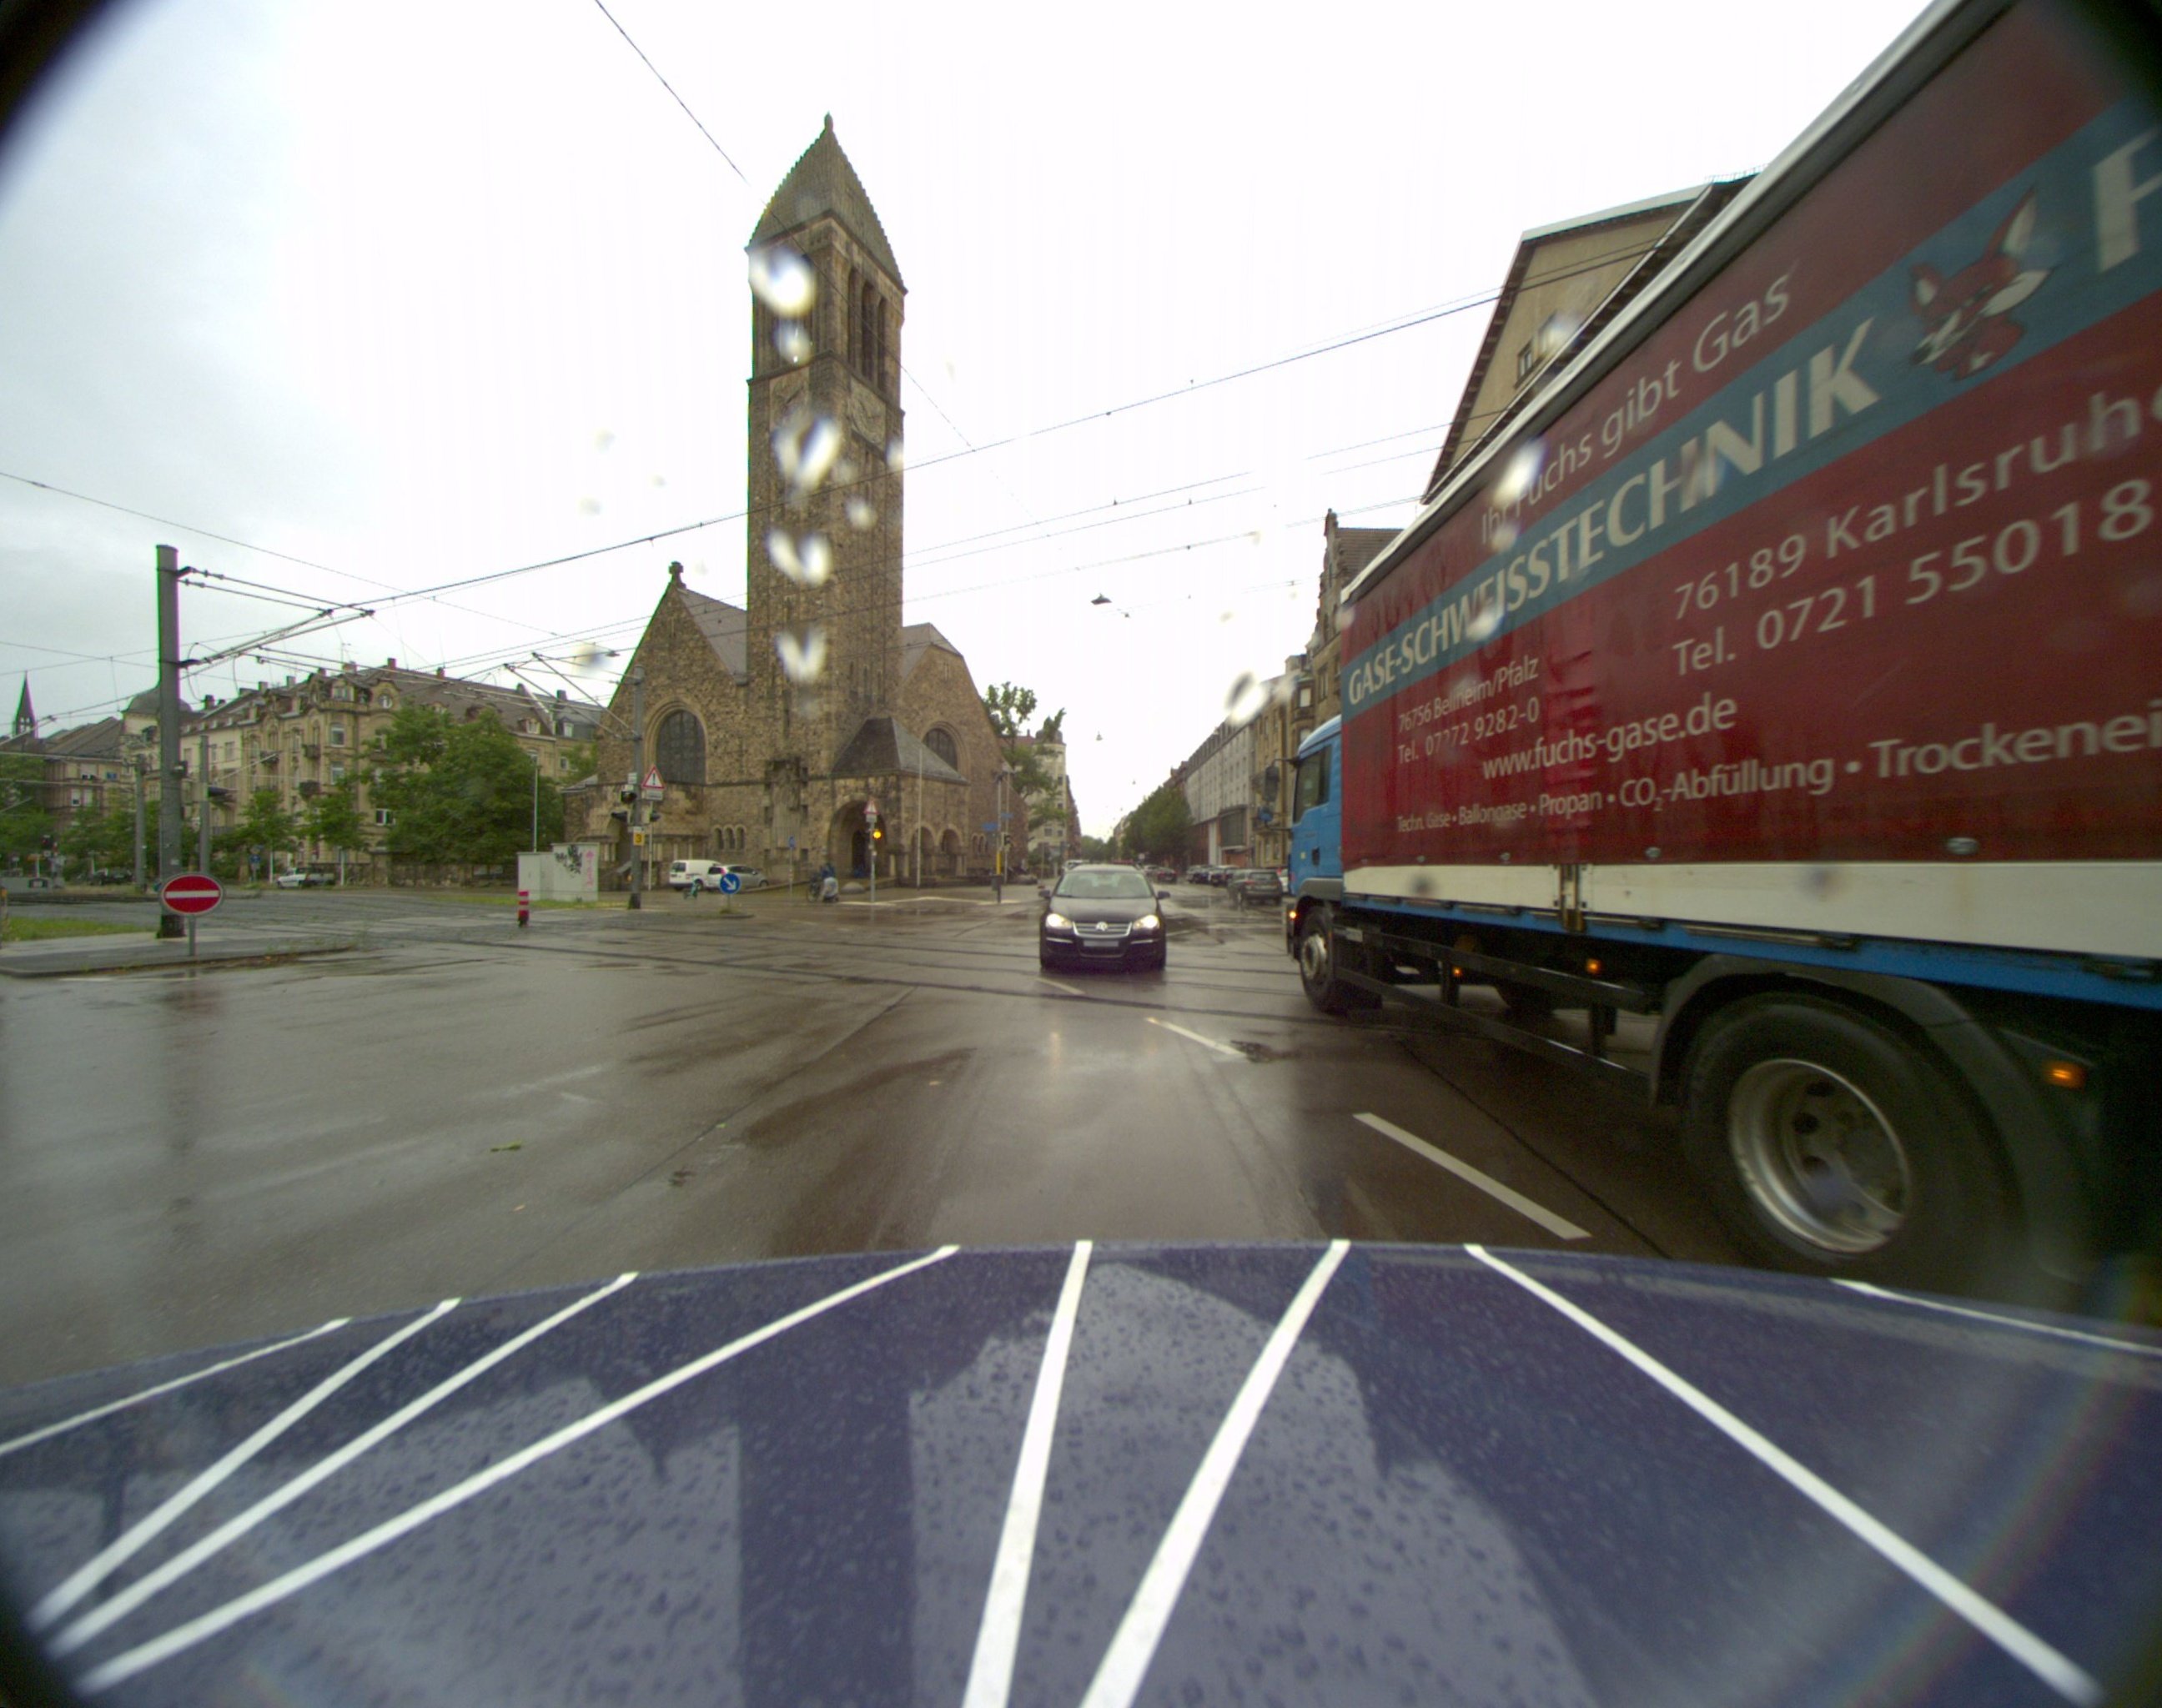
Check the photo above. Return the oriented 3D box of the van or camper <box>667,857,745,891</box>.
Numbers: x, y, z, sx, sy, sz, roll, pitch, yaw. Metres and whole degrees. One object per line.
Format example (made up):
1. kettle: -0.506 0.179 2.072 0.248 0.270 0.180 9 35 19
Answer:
1. van or camper: -22.390 1.161 45.544 1.644 1.718 3.935 0 3 25

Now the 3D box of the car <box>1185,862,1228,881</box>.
1. car: 11.547 1.621 69.943 3.931 1.719 1.811 1 0 -40

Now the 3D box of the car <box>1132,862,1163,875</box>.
1. car: 9.165 2.031 104.865 3.802 1.705 1.998 1 0 -9

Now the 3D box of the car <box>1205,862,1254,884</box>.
1. car: 12.005 1.509 61.404 3.734 1.617 1.774 -1 -1 -37

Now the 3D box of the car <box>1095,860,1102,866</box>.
1. car: 5.346 2.788 232.784 1.998 1.705 4.377 1 0 5

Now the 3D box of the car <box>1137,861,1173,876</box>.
1. car: 9.442 1.843 97.068 4.006 1.804 1.996 1 0 -25

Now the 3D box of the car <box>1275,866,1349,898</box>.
1. car: 12.163 1.449 39.957 4.002 1.524 1.700 -1 -1 -38

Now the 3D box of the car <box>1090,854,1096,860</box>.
1. car: 3.825 0.948 241.015 1.837 1.827 4.002 1 0 5

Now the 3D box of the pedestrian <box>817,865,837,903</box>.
1. pedestrian: -11.140 1.314 33.365 0.604 1.653 0.689 0 0 4

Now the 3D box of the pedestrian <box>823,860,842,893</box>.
1. pedestrian: -12.823 1.159 39.228 0.632 1.693 0.679 0 0 21

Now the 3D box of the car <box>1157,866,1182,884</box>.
1. car: 7.868 1.840 67.682 1.748 1.537 3.779 1 0 0

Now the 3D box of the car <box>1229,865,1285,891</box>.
1. car: 11.344 1.515 49.010 3.436 1.535 1.697 -1 -1 -38

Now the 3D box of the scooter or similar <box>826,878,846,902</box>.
1. scooter or similar: -10.681 1.564 33.146 0.514 1.042 0.924 0 -1 4

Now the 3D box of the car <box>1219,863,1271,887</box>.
1. car: 11.904 1.516 55.149 3.766 1.535 1.624 -1 -1 -39

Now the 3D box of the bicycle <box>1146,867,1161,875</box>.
1. bicycle: 8.839 2.065 92.671 1.687 1.066 0.545 0 0 -2

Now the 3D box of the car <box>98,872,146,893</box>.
1. car: -85.966 2.546 68.124 3.990 1.766 1.785 0 0 25

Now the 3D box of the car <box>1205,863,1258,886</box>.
1. car: 11.517 1.561 58.150 3.734 1.535 1.774 -1 -1 -34

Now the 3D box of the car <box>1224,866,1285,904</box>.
1. car: 7.562 1.311 33.460 1.730 1.537 4.340 1 0 1

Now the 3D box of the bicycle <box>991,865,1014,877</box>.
1. bicycle: -6.674 1.437 64.594 1.923 1.054 0.582 1 0 23

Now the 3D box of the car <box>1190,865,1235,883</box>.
1. car: 11.583 1.740 66.860 3.734 1.518 1.714 1 0 -34

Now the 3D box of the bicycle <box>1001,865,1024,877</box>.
1. bicycle: -5.985 1.464 66.274 1.977 1.060 0.607 1 0 23

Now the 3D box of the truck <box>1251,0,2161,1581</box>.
1. truck: 3.617 -0.472 3.987 2.853 4.001 10.315 1 0 -1

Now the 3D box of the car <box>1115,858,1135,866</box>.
1. car: 9.561 1.763 165.913 3.809 1.705 1.995 1 0 -32

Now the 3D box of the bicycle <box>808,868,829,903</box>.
1. bicycle: -11.599 1.370 33.594 0.533 1.458 1.939 0 0 -8

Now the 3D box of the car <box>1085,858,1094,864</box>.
1. car: 2.213 1.794 196.913 1.998 1.705 3.804 1 0 5

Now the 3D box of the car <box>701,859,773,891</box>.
1. car: -19.684 1.173 43.615 1.732 1.565 3.363 0 3 27

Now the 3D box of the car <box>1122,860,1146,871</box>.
1. car: 9.642 2.152 138.141 4.006 2.002 1.995 1 0 -27

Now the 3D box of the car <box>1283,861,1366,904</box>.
1. car: 11.925 1.371 37.119 4.005 1.499 1.800 -8 -1 -39

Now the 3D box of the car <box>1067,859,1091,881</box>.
1. car: -0.151 1.383 67.066 1.909 1.911 5.273 1 0 1

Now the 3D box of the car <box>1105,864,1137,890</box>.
1. car: 2.330 1.334 45.209 1.766 1.430 3.748 1 0 1

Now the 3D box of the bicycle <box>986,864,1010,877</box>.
1. bicycle: -6.996 1.394 63.860 1.923 1.054 0.582 1 0 23

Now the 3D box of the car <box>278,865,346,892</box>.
1. car: -53.755 1.666 53.117 3.990 1.783 1.984 0 0 22

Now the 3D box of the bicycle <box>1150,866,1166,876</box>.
1. bicycle: 9.020 2.006 88.904 1.687 1.066 0.545 -2 0 -2

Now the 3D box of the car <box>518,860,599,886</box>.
1. car: -34.647 1.228 50.488 1.995 1.608 4.007 0 0 25

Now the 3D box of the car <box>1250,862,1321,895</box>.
1. car: 11.586 1.349 42.954 4.093 1.682 1.760 -1 -1 -38

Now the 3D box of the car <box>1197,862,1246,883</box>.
1. car: 11.864 1.564 64.221 3.732 1.519 1.897 -3 2 -30

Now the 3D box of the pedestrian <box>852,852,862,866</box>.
1. pedestrian: -14.370 0.301 48.805 0.395 0.879 0.457 0 0 24

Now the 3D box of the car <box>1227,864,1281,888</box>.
1. car: 11.908 1.508 52.271 3.450 1.535 1.624 -1 -1 -35

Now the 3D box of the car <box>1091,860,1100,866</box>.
1. car: 4.167 2.601 218.338 1.998 1.705 4.377 1 0 5

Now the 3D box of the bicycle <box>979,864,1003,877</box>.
1. bicycle: -7.462 1.359 63.192 1.924 1.054 0.582 1 0 20

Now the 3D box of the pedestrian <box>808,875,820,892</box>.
1. pedestrian: -14.361 1.587 40.903 0.455 0.879 0.397 0 0 21

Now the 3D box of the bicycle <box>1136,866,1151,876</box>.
1. bicycle: 7.473 2.042 90.436 1.687 1.066 0.545 -5 0 -2

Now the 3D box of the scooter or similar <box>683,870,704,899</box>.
1. scooter or similar: -18.959 1.477 37.191 1.101 1.379 0.287 0 0 24

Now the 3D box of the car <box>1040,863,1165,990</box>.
1. car: 0.314 0.929 11.565 1.547 1.553 4.071 1 0 1

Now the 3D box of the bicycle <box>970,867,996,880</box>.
1. bicycle: -8.012 1.572 62.254 2.005 1.043 0.577 1 0 18

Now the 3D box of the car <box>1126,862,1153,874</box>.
1. car: 8.982 2.141 117.764 3.802 1.705 1.998 1 0 -9
